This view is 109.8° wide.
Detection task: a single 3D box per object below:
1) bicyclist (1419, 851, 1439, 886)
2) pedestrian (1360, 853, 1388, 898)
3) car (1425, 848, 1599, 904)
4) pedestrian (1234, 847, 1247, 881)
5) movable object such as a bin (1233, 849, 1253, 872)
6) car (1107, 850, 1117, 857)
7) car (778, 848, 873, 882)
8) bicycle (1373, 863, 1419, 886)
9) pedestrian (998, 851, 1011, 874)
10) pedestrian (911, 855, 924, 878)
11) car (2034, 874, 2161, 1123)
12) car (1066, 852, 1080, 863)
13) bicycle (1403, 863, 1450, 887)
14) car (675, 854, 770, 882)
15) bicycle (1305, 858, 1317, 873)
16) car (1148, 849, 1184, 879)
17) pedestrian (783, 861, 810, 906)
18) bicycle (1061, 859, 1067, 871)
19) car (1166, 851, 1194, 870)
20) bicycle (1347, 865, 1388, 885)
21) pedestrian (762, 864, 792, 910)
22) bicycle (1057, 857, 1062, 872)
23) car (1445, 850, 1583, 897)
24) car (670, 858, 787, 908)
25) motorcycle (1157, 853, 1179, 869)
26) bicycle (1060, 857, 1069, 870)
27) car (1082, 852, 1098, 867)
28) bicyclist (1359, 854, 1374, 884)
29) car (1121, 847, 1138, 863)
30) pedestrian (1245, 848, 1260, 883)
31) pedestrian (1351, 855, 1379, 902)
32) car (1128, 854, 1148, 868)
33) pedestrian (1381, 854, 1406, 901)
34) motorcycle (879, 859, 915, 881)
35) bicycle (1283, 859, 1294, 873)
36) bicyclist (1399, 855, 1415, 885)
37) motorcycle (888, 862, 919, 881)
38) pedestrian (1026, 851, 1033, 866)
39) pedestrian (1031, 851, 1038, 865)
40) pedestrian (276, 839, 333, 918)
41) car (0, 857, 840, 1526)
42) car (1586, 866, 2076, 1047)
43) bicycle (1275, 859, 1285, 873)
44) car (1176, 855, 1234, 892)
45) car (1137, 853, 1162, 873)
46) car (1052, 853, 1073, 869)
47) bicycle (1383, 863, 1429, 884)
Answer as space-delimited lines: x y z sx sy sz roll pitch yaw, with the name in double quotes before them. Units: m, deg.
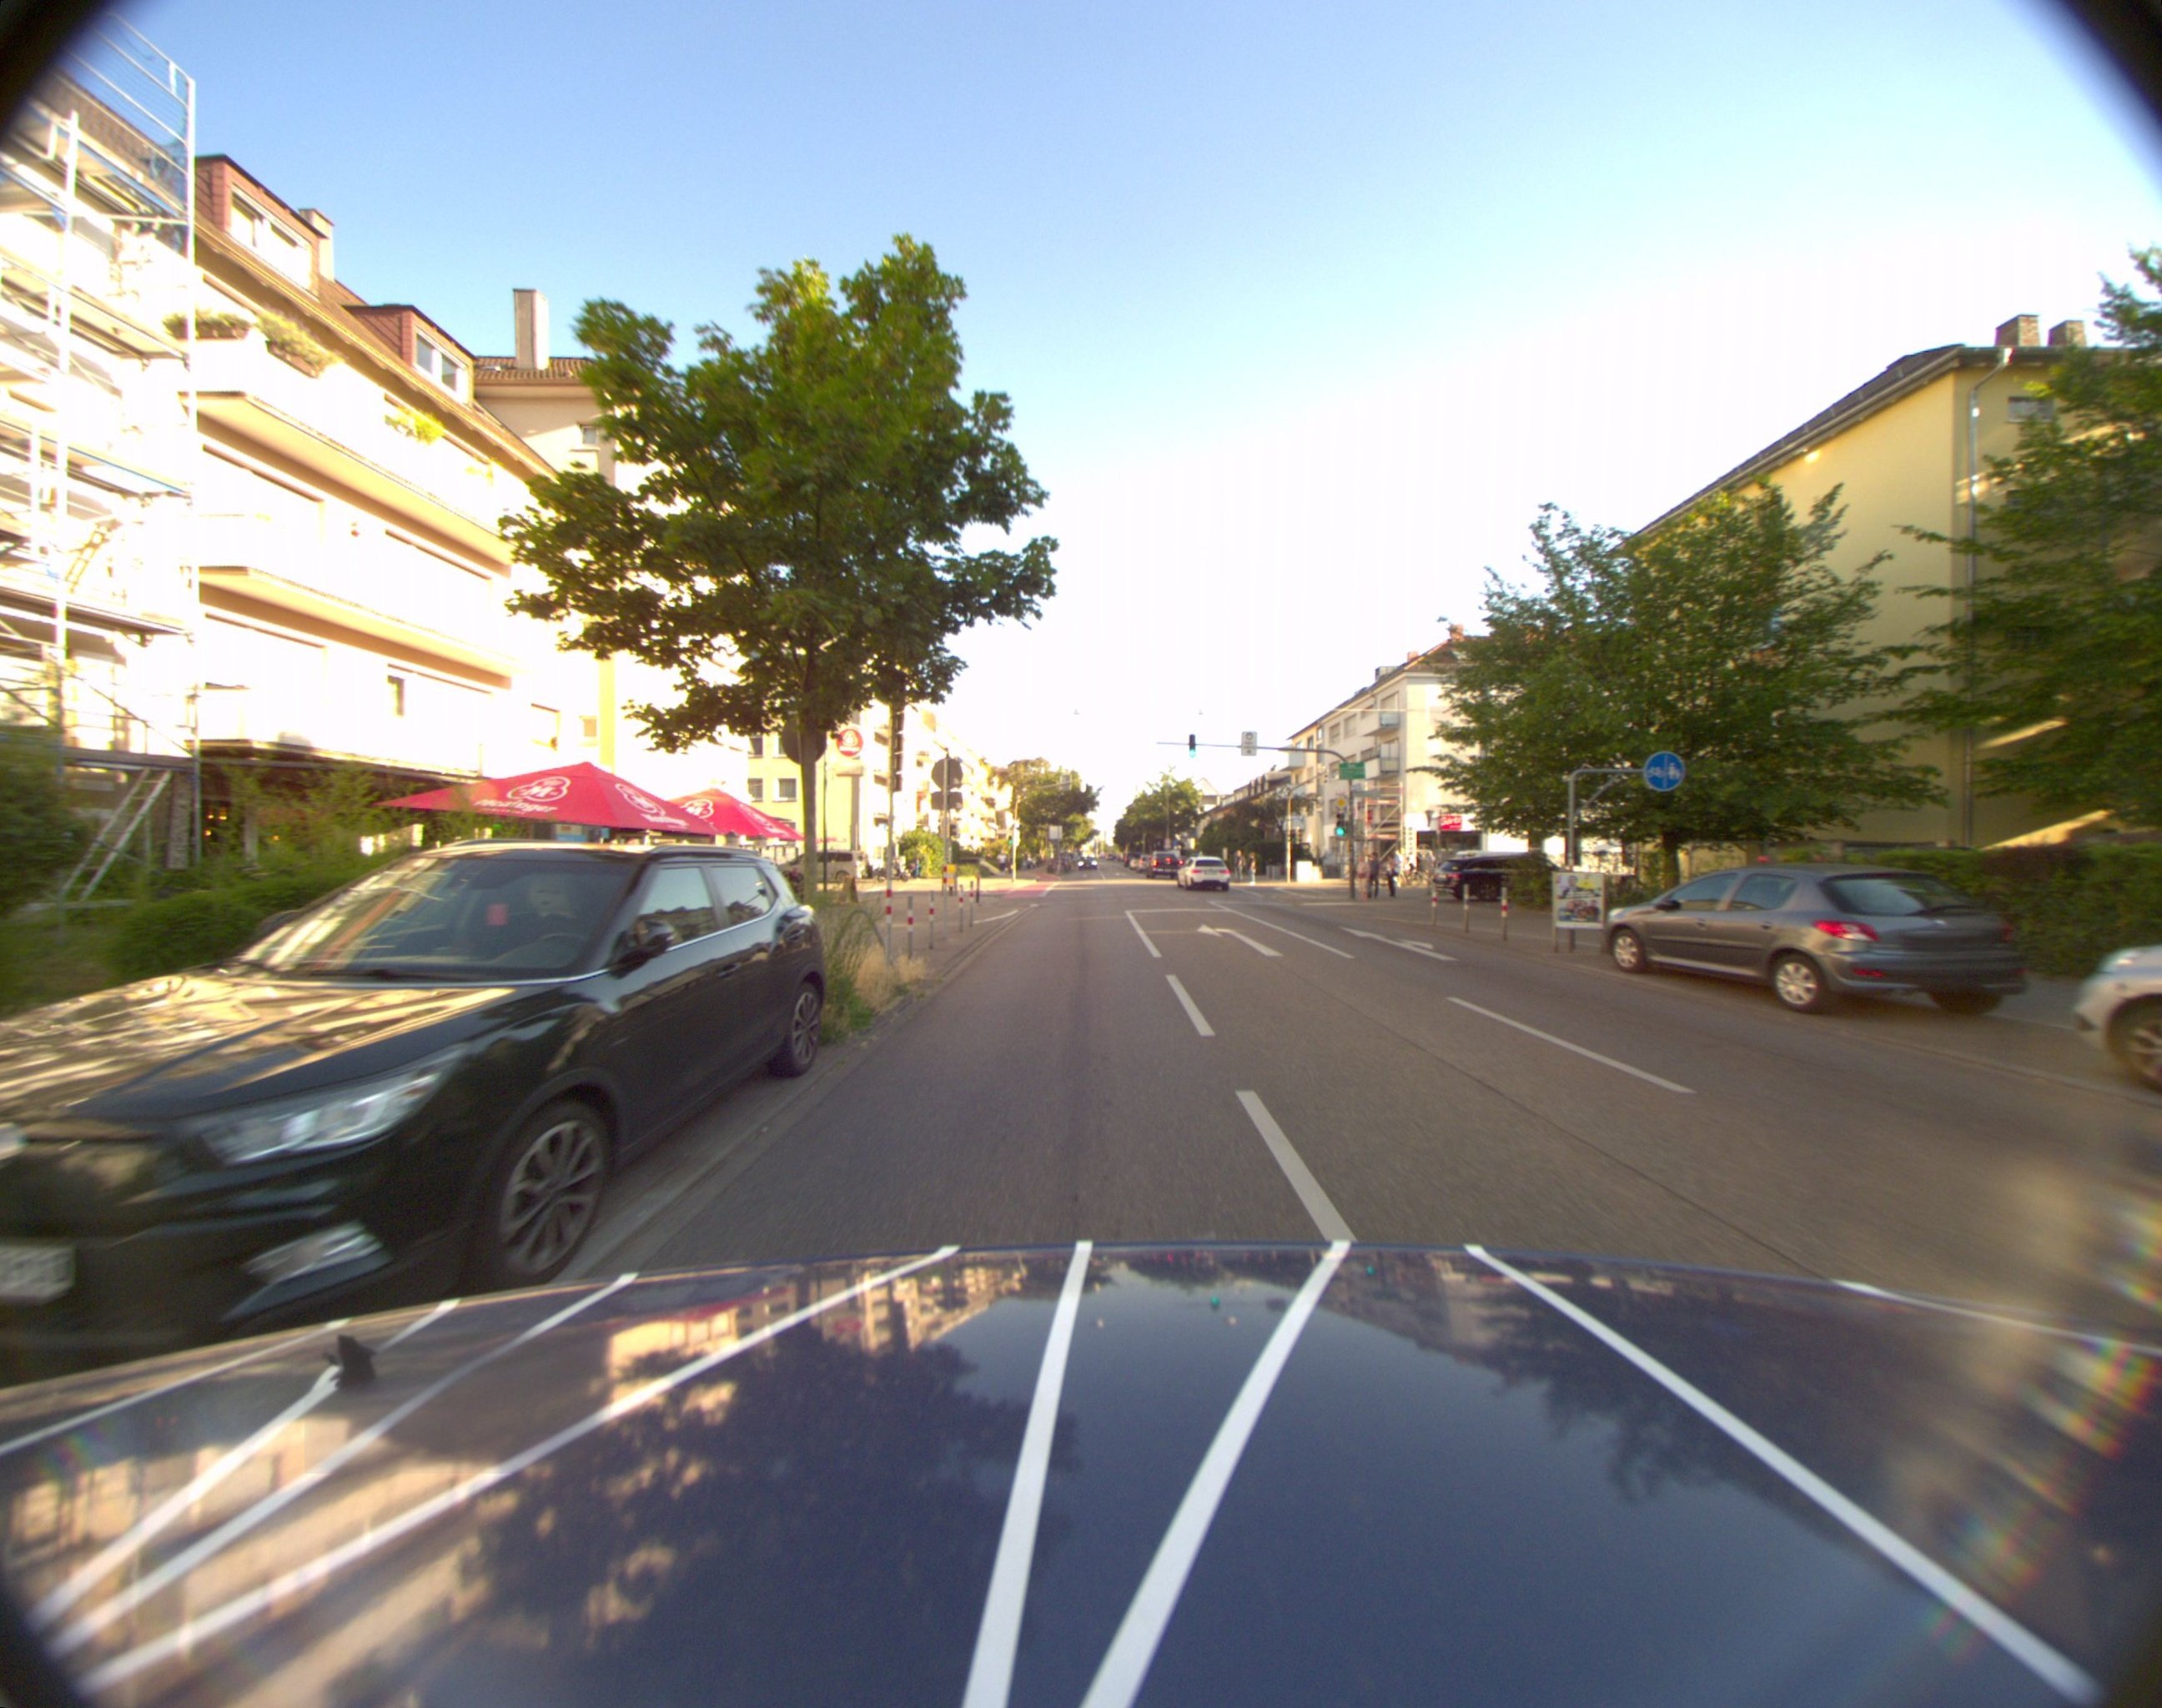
"bicyclist" 17.126 0.697 37.371 0.608 1.711 0.750 0 0 -5
"pedestrian" 10.840 0.801 28.117 0.750 1.648 0.608 0 1 -6
"car" 13.907 0.674 24.666 4.603 1.604 1.843 -2 0 -2
"pedestrian" 9.551 0.612 45.505 0.639 2.002 0.739 0 1 2
"movable object such as a bin" 12.744 0.513 59.806 1.309 1.649 1.180 -4 2 0
"car" 7.690 -0.195 189.966 1.843 1.604 4.406 0 0 -6
"car" -14.837 0.616 44.349 4.842 1.855 1.952 0 2 -2
"bicycle" 15.759 1.021 38.053 1.999 1.159 0.728 0 -1 -5
"pedestrian" -5.691 0.642 56.486 0.830 1.673 0.660 1 1 5
"pedestrian" -10.052 0.737 46.652 0.641 1.383 0.594 -1 1 0
"car" 7.620 0.923 3.513 1.641 1.543 3.785 0 0 -1
"car" -1.108 0.514 108.981 1.744 1.508 3.811 0 0 3
"bicycle" 16.960 1.026 37.356 1.999 1.150 0.728 0 0 -5
"car" -20.918 0.801 44.489 4.620 1.532 1.952 0 2 -2
"bicycle" 16.169 0.780 53.425 0.439 1.009 1.477 0 1 3
"car" 5.469 0.594 49.309 1.866 1.819 5.227 2 0 2
"pedestrian" -7.538 0.773 20.160 0.413 1.143 0.632 -1 1 5
"bicycle" -1.454 0.944 64.750 0.325 0.981 1.191 0 1 5
"car" 8.600 0.545 66.322 1.810 1.604 3.950 0 0 -2
"bicycle" 15.640 1.125 41.523 1.996 1.083 0.729 0 0 11
"pedestrian" -7.677 0.830 19.198 0.494 1.143 0.526 -1 1 5
"bicycle" -1.762 0.858 62.230 0.325 1.138 1.800 0 0 -4
"car" 17.476 0.743 30.799 4.483 1.837 1.908 0 1 0
"car" -11.462 0.885 25.051 1.833 1.475 4.204 0 0 1
"motorcycle" 8.601 0.640 75.453 1.263 1.526 2.887 0 1 -13
"bicycle" -1.496 0.825 67.239 0.324 1.138 1.802 0 1 14
"car" 0.960 0.583 80.004 1.641 1.482 4.415 1 0 0
"bicyclist" 15.609 0.828 41.526 0.672 1.643 0.751 0 0 11
"car" 5.903 0.106 93.528 1.842 1.866 4.409 0 0 0
"pedestrian" 9.910 0.673 43.944 0.645 2.002 0.814 -1 2 2
"pedestrian" 9.874 0.842 26.422 0.608 1.585 0.749 -3 2 -2
"car" 5.874 0.696 78.984 1.845 1.312 4.441 1 0 2
"pedestrian" 11.225 0.832 27.283 0.607 1.620 0.751 -2 2 38
"motorcycle" -10.632 0.930 43.917 1.992 1.194 0.774 -1 1 -12
"bicycle" 14.653 0.833 53.653 0.439 1.009 1.477 0 1 3
"bicyclist" 18.040 0.860 42.068 0.687 1.586 0.751 2 3 20
"motorcycle" -10.504 1.020 44.956 1.698 1.105 0.594 -1 1 1
"pedestrian" -5.802 0.450 85.279 0.659 1.673 0.831 1 1 6
"pedestrian" -5.322 0.446 87.238 0.659 1.673 0.831 1 1 6
"pedestrian" -17.615 0.543 17.243 0.525 1.765 0.685 -1 1 1
"car" -2.802 0.863 3.926 1.796 1.622 4.029 2 0 0
"car" 7.748 0.912 8.504 1.657 1.471 3.943 0 0 2
"bicycle" 14.047 0.841 53.704 0.439 1.009 1.477 0 1 3
"car" 5.416 0.815 33.621 1.841 1.465 4.671 1 0 1
"car" 5.885 0.762 65.361 1.809 1.548 4.000 -1 0 1
"car" -1.808 0.647 74.595 1.744 1.508 3.811 0 0 3
"bicycle" 17.993 1.066 42.097 2.267 1.083 0.729 2 3 20
